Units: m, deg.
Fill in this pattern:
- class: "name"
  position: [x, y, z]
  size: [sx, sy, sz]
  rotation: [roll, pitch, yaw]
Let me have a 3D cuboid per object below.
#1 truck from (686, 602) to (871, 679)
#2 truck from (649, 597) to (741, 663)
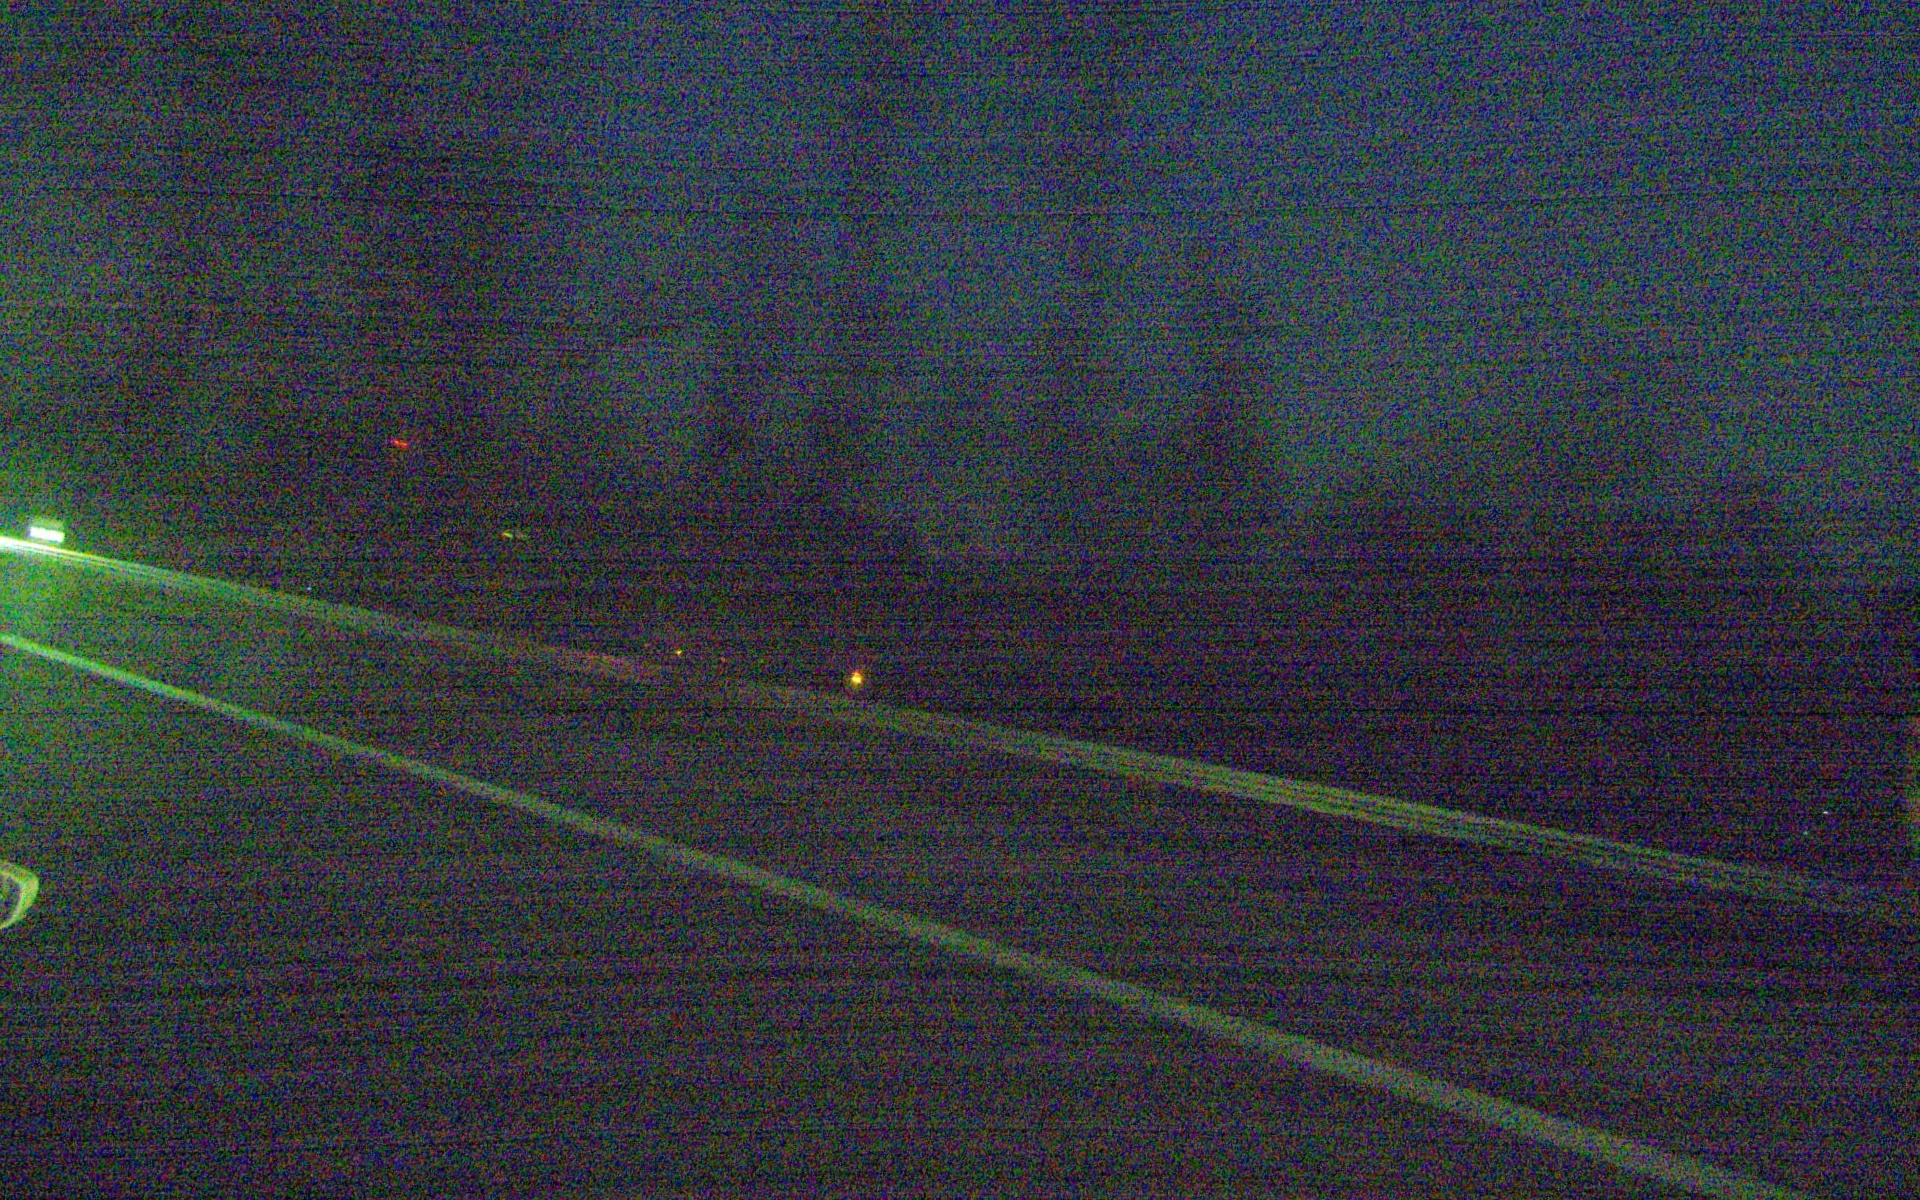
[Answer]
- class: "truck"
  position: [-14.016, 3.178, 78.661]
  size: [13.585, 4.271, 2.766]
  rotation: [7, -1, -6]
- class: "truck"
  position: [-20.423, 2.353, 77.964]
  size: [6.086, 4.271, 2.766]
  rotation: [7, -1, -6]
